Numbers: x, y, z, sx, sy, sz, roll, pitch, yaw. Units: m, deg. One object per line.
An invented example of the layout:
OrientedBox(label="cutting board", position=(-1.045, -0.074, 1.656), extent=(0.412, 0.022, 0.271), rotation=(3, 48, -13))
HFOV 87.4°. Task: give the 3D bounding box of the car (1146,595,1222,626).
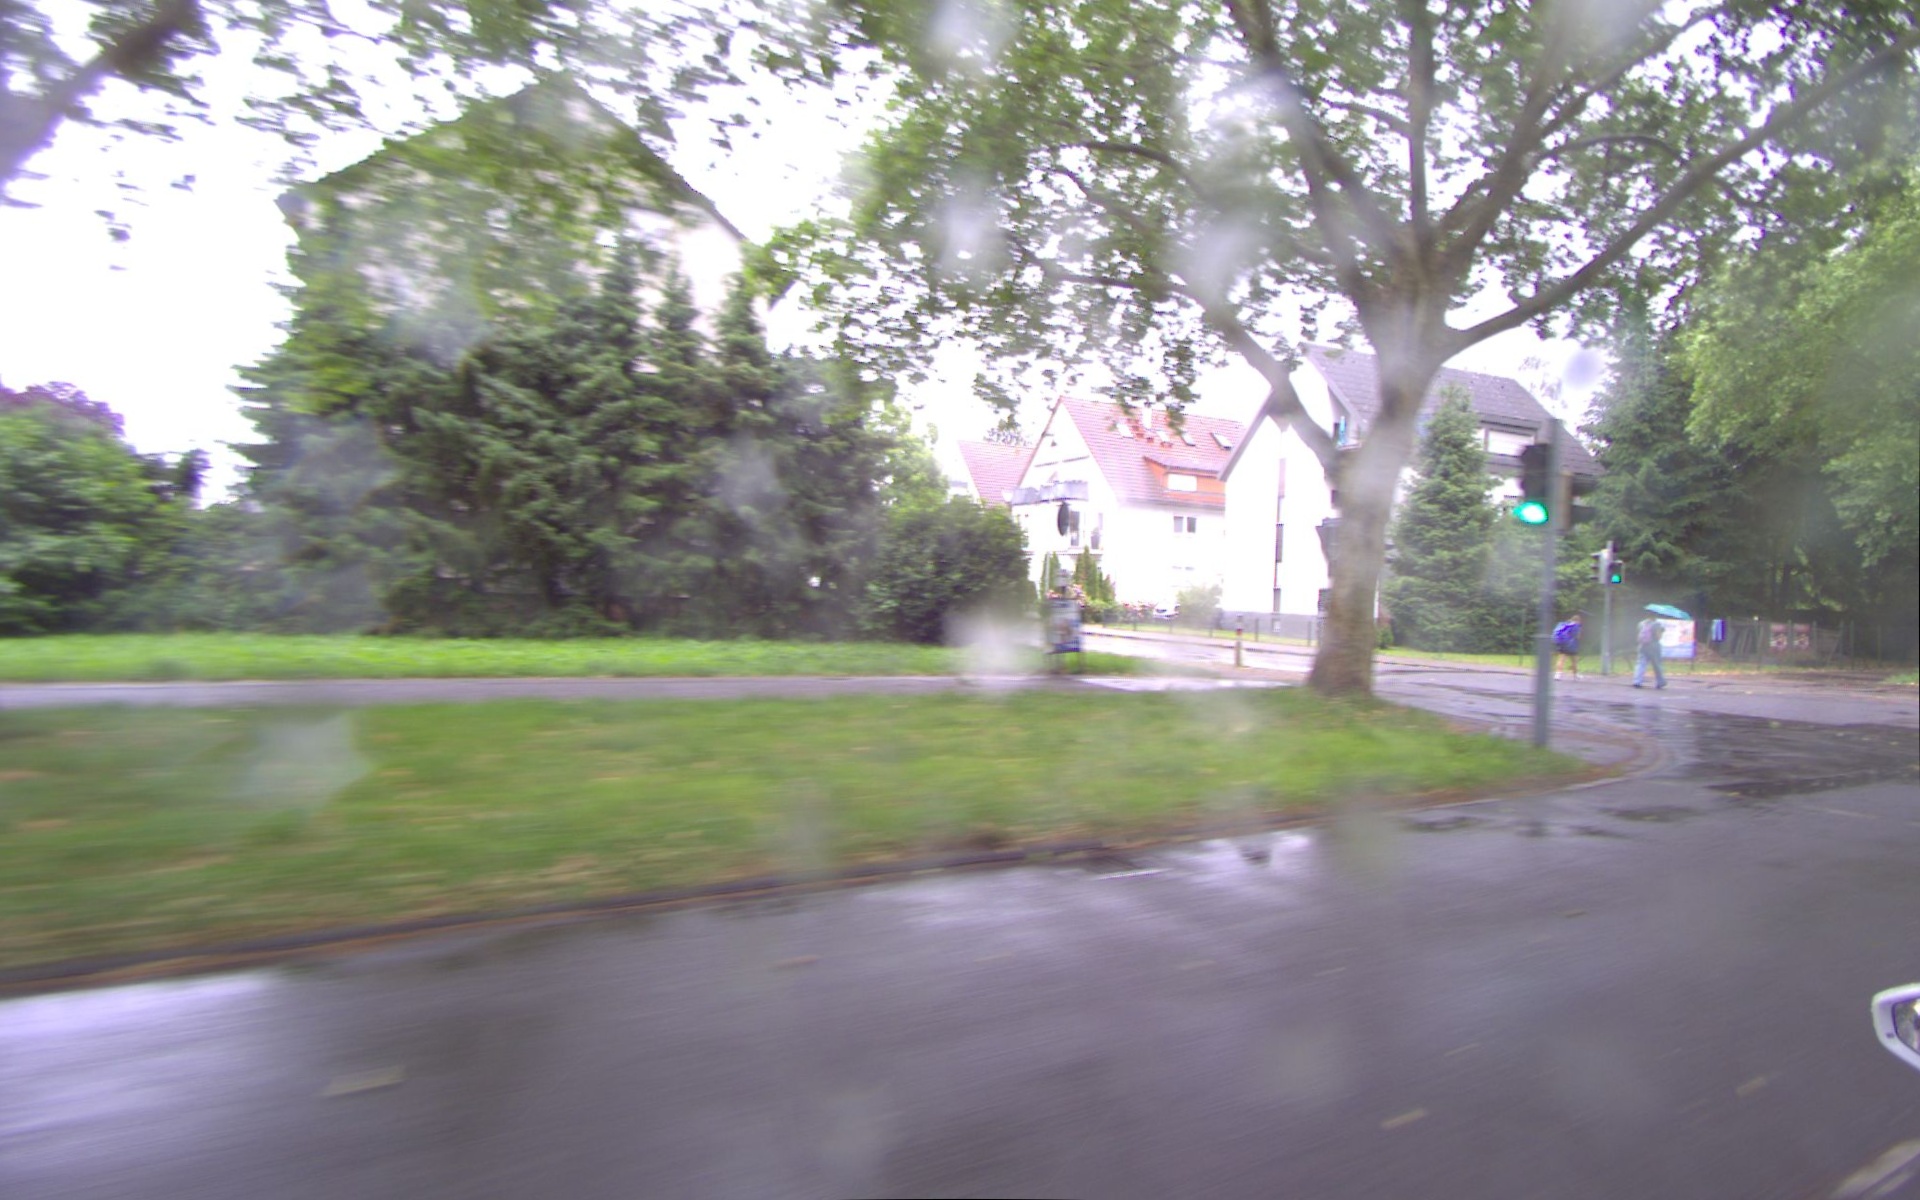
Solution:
OrientedBox(label="car", position=(11.432, 0.525, 51.184), extent=(3.611, 1.465, 1.609), rotation=(2, -1, -28))

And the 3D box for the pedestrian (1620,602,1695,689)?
OrientedBox(label="pedestrian", position=(14.913, 0.954, 21.502), extent=(0.827, 1.789, 1.029), rotation=(1, 0, -27))

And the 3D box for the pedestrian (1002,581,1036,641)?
OrientedBox(label="pedestrian", position=(1.780, 0.334, 30.418), extent=(0.632, 1.768, 0.854), rotation=(1, 1, -30))

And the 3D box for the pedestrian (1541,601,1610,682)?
OrientedBox(label="pedestrian", position=(14.133, 0.933, 23.073), extent=(0.868, 1.789, 1.029), rotation=(1, 0, -27))
